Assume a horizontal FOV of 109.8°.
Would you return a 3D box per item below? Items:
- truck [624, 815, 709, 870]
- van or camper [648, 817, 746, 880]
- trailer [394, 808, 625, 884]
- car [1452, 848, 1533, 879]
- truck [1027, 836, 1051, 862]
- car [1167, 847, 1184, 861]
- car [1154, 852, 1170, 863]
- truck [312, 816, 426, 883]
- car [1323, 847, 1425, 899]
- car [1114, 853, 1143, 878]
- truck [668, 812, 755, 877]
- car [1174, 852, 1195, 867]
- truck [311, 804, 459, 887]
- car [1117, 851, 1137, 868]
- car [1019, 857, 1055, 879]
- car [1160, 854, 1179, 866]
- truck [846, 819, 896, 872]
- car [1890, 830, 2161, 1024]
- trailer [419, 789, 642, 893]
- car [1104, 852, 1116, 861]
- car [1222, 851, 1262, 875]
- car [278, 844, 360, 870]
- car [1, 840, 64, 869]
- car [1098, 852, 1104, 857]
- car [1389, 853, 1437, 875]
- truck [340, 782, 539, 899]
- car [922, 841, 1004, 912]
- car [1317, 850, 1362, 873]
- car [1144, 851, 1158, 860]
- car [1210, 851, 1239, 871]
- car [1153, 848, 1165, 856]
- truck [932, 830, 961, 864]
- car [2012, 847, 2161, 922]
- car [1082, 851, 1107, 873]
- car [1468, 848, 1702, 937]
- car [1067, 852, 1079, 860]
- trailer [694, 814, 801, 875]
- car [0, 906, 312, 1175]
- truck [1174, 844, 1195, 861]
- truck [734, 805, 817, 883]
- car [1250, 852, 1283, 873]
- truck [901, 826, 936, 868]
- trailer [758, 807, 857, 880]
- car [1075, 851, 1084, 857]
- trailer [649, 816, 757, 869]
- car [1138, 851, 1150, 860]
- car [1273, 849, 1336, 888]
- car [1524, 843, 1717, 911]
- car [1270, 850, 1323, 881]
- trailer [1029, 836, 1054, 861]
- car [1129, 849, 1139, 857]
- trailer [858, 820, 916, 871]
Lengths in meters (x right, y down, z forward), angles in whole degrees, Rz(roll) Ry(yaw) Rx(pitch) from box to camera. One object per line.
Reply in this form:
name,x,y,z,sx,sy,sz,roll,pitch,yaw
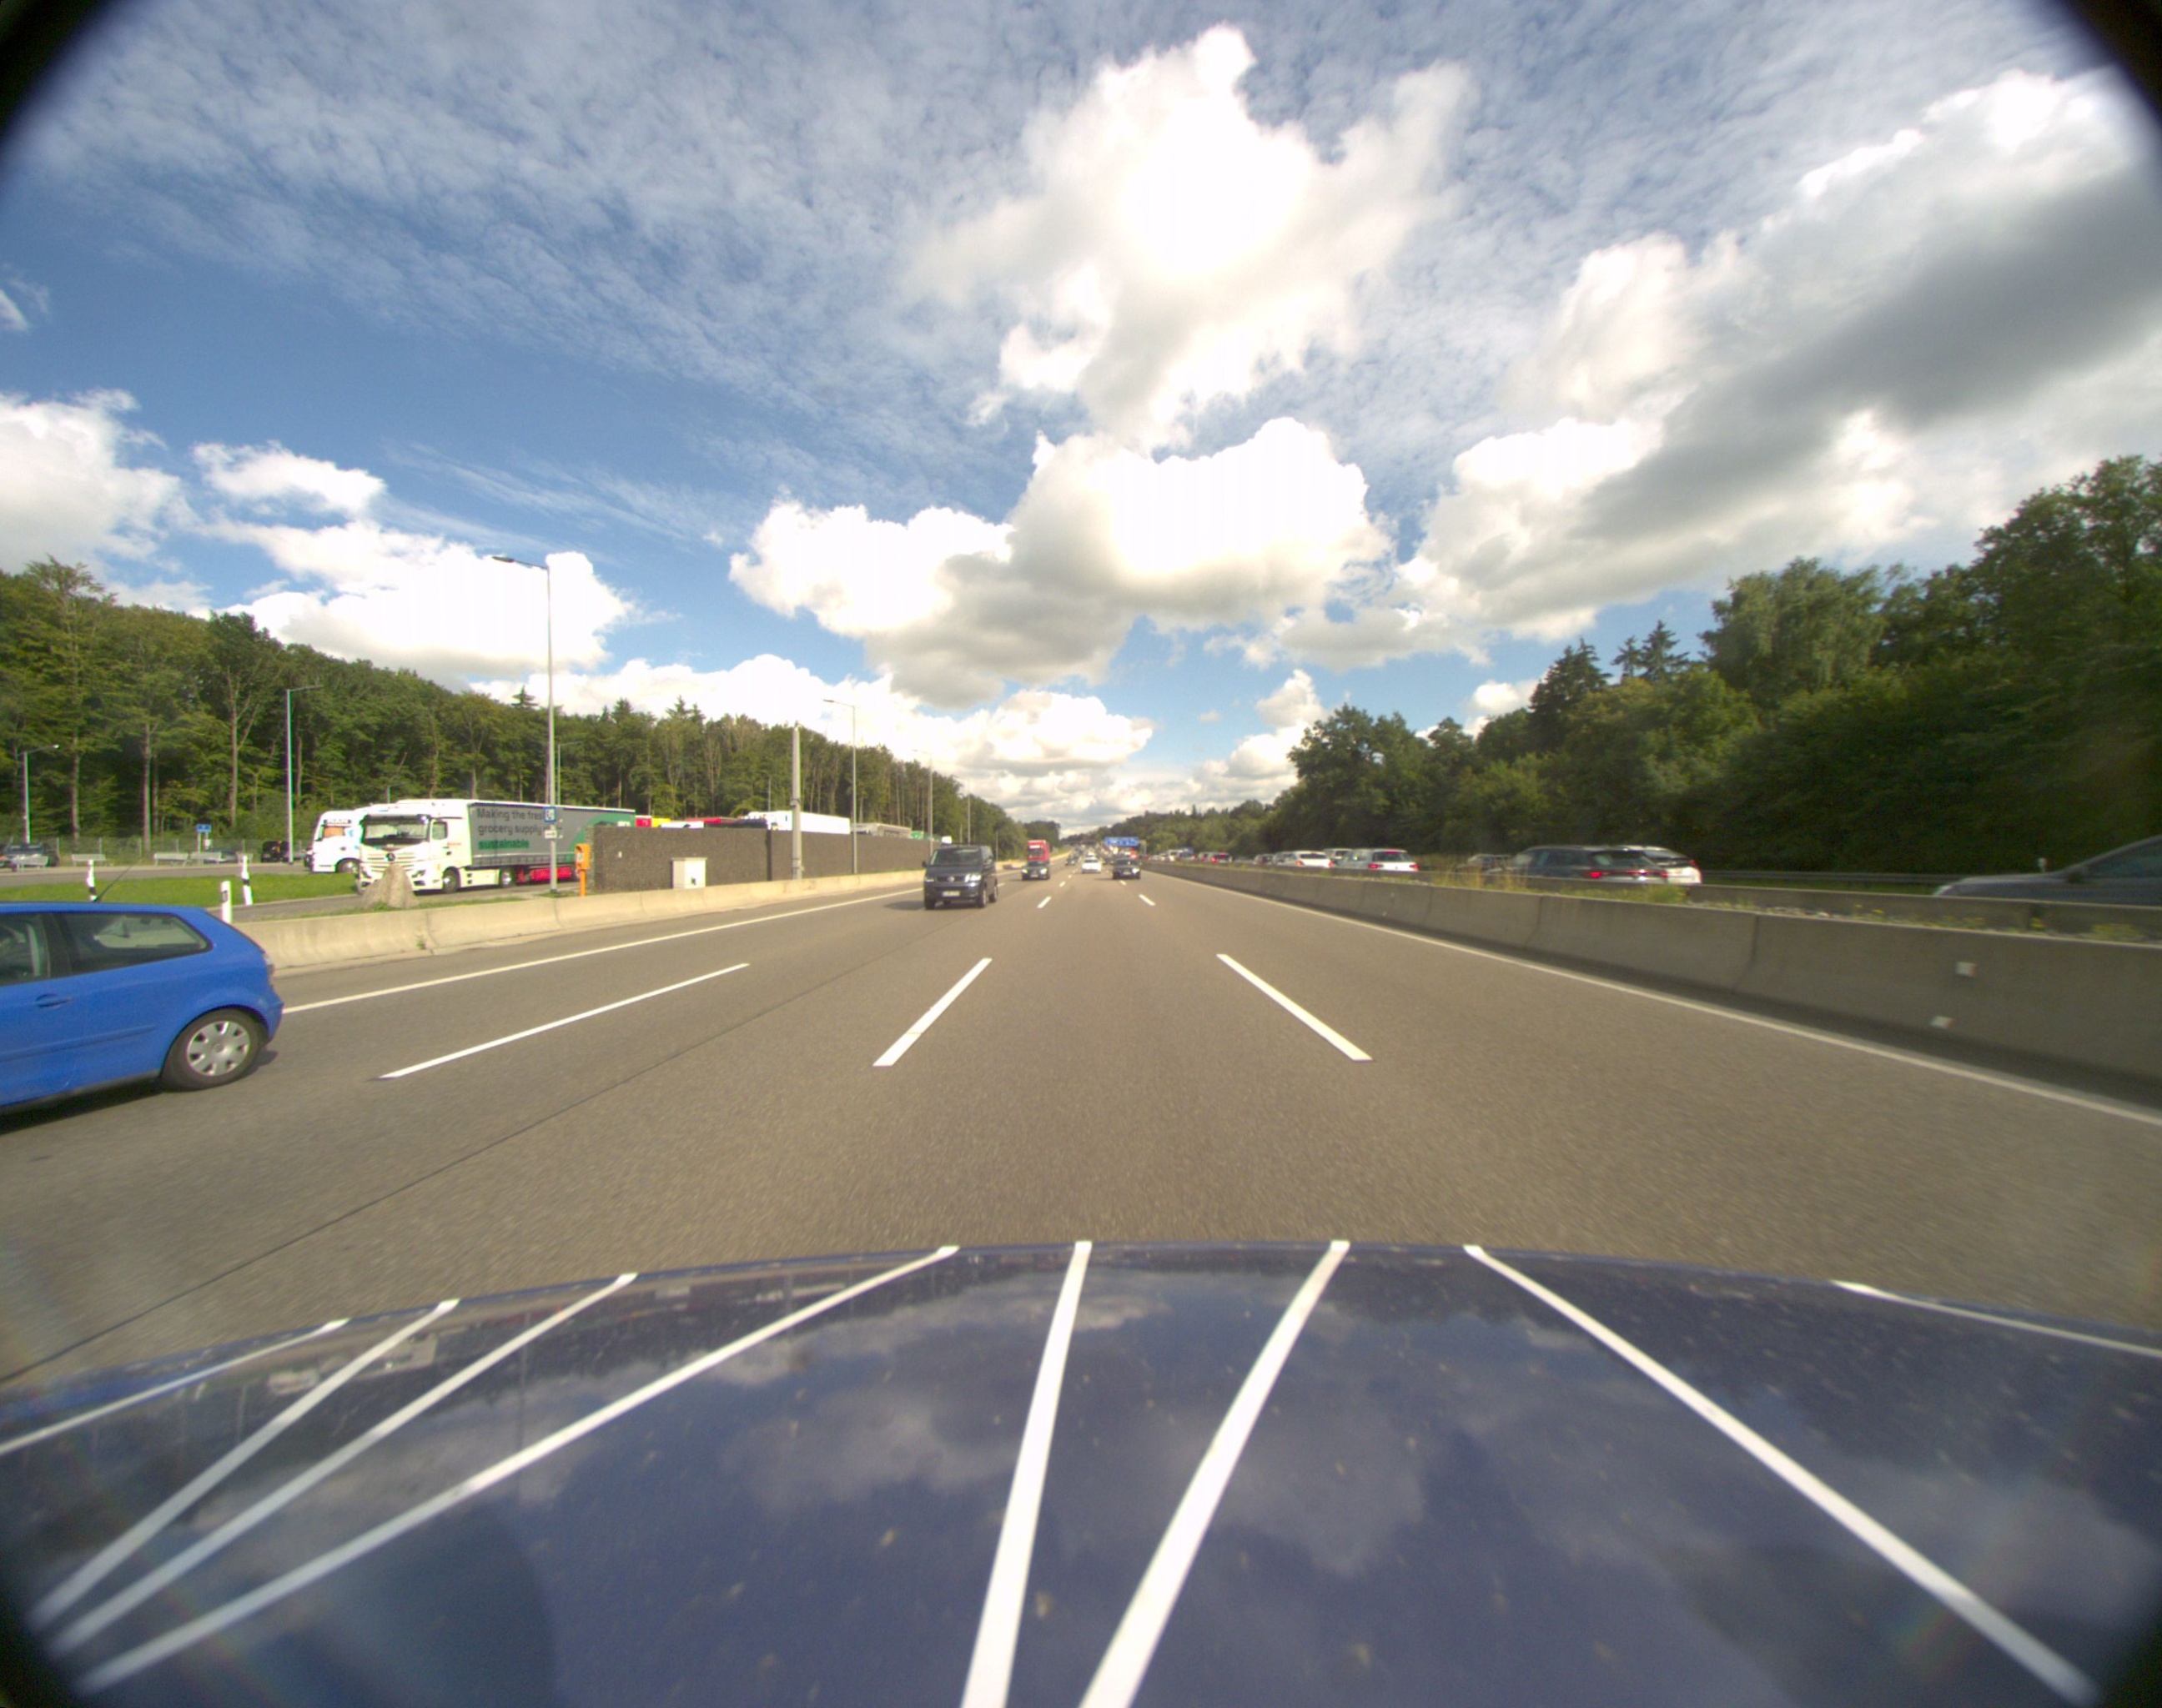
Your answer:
truck,-32.085,-0.875,59.170,2.982,4.001,6.254,-2,1,0
van or camper,-20.328,-0.274,40.512,2.393,3.179,4.744,-1,0,6
trailer,-35.917,-0.570,48.307,11.406,4.348,2.838,-2,0,-42
car,22.281,0.485,41.359,1.998,1.608,4.550,0,0,1
truck,-6.152,-0.733,111.964,3.017,3.662,7.561,-1,0,1
car,11.079,-0.025,89.324,1.634,1.543,4.000,0,0,1
car,11.913,0.461,112.460,1.998,1.543,4.000,0,0,1
truck,-45.646,-0.274,48.863,5.181,4.093,2.565,-1,1,-43
car,9.777,0.582,25.753,1.746,1.608,4.550,0,0,1
car,3.138,0.726,50.550,1.733,1.500,4.728,-2,0,2
truck,-27.478,-0.664,56.946,2.878,4.480,7.036,-1,0,1
car,10.827,0.562,79.316,1.698,1.543,4.000,0,0,1
truck,-40.327,-0.514,44.228,6.109,4.481,2.873,-2,1,-43
car,5.170,0.567,85.844,2.152,1.800,5.099,-2,1,2
car,-3.097,0.969,54.497,2.153,1.426,5.099,0,0,1
car,11.581,0.721,99.731,1.998,1.543,4.000,0,0,1
truck,-20.119,-0.796,73.143,2.661,4.896,7.261,0,0,0
car,10.026,0.601,6.136,2.176,1.608,4.550,0,0,1
trailer,-27.577,-0.577,39.434,2.880,4.480,12.997,0,0,-4
car,5.173,0.466,136.717,2.153,1.540,4.677,0,0,1
car,10.964,0.579,52.026,1.998,1.543,4.000,0,0,1
car,-56.609,0.209,56.483,3.997,1.903,2.000,0,0,-1
car,-62.860,0.035,45.610,3.988,1.674,1.962,0,0,40
car,6.925,0.189,261.572,1.892,1.783,4.000,0,0,1
car,23.902,0.711,54.815,1.780,1.543,4.000,0,0,1
truck,-27.099,-0.524,32.661,2.880,4.480,7.173,0,0,-5
car,-3.808,0.672,25.405,1.853,2.097,4.932,-2,0,1
car,18.498,0.492,54.554,1.988,1.608,4.000,0,0,1
car,11.886,0.195,128.922,1.998,1.543,4.000,0,0,1
car,11.441,0.537,60.703,1.642,1.543,4.000,0,0,1
car,15.285,-0.436,149.775,1.998,1.543,4.000,0,0,1
truck,-19.628,-0.978,111.172,2.660,4.896,7.385,0,0,2
car,21.715,0.587,14.709,1.851,1.451,4.550,0,0,1
car,1.227,0.707,70.268,2.153,1.800,5.098,-2,1,0
car,10.341,0.697,16.131,1.998,1.608,4.550,0,0,1
car,-1.531,0.345,146.864,2.153,1.540,4.677,-1,0,1
trailer,-27.446,-0.731,63.596,2.879,4.480,13.692,-1,0,0
car,-7.102,1.161,4.158,1.654,1.433,4.000,-2,0,1
truck,15.248,-0.179,112.044,2.368,2.444,5.239,0,0,1
truck,-20.502,-0.647,51.447,2.661,4.896,6.985,0,0,0
car,14.525,0.648,59.717,1.635,1.543,4.000,0,0,1
truck,-19.997,-0.827,93.768,2.661,4.896,6.969,0,0,0
trailer,-20.458,-0.713,57.971,2.661,4.896,13.112,0,0,0
car,-0.422,-0.029,209.105,2.153,1.540,4.677,-1,0,1
trailer,-32.052,-0.941,65.294,2.999,4.001,12.077,-2,1,0
car,11.985,0.266,144.001,1.998,1.543,4.000,0,0,1
car,9.867,0.602,33.768,1.665,1.608,4.000,0,0,1
car,14.170,0.535,20.360,1.998,1.608,4.550,0,0,1
car,11.577,0.585,41.080,1.800,1.543,4.000,0,0,1
trailer,-6.081,-0.778,118.880,3.017,3.662,13.576,-1,0,1
car,11.287,-0.173,161.772,1.998,1.543,4.000,0,0,1
trailer,-20.052,-0.858,79.466,2.661,4.896,12.743,0,0,0
